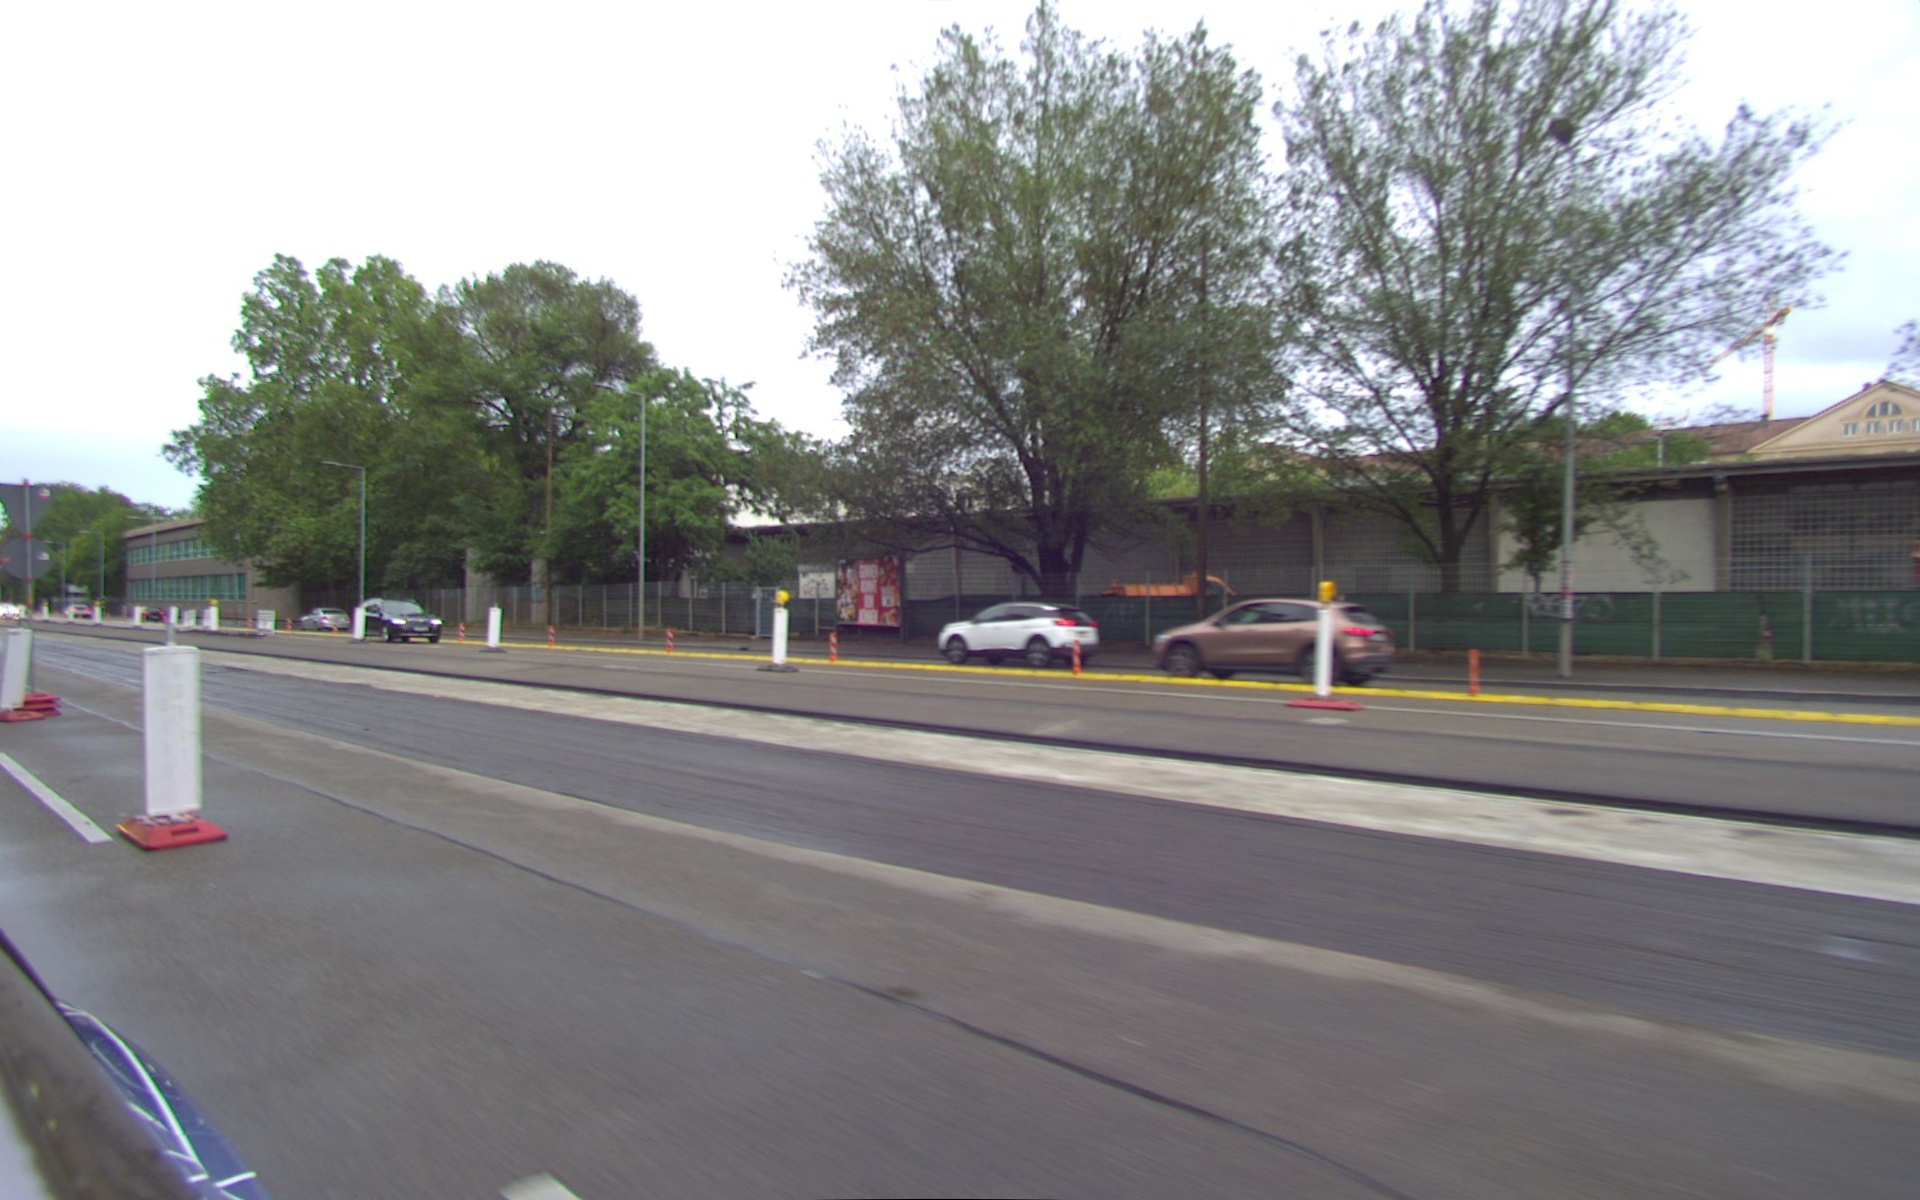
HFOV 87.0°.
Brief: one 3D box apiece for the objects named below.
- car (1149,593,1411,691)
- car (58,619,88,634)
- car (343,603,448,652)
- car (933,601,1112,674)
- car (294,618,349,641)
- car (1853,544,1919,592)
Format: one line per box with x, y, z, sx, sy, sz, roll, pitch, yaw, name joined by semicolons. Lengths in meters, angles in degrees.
5.956;0.770;19.110;4.363;1.631;1.839;-1;-3;42;car
-91.617;2.689;104.547;4.147;1.445;1.817;-1;-1;41;car
-21.546;1.084;38.551;4.983;1.719;1.972;-2;-5;43;car
1.537;0.958;25.988;4.363;1.719;1.839;-1;-3;42;car
-38.592;1.788;61.132;4.454;1.325;1.649;-1;-3;42;car
24.214;-0.755;24.410;3.961;1.070;1.755;0;-1;-6;car
